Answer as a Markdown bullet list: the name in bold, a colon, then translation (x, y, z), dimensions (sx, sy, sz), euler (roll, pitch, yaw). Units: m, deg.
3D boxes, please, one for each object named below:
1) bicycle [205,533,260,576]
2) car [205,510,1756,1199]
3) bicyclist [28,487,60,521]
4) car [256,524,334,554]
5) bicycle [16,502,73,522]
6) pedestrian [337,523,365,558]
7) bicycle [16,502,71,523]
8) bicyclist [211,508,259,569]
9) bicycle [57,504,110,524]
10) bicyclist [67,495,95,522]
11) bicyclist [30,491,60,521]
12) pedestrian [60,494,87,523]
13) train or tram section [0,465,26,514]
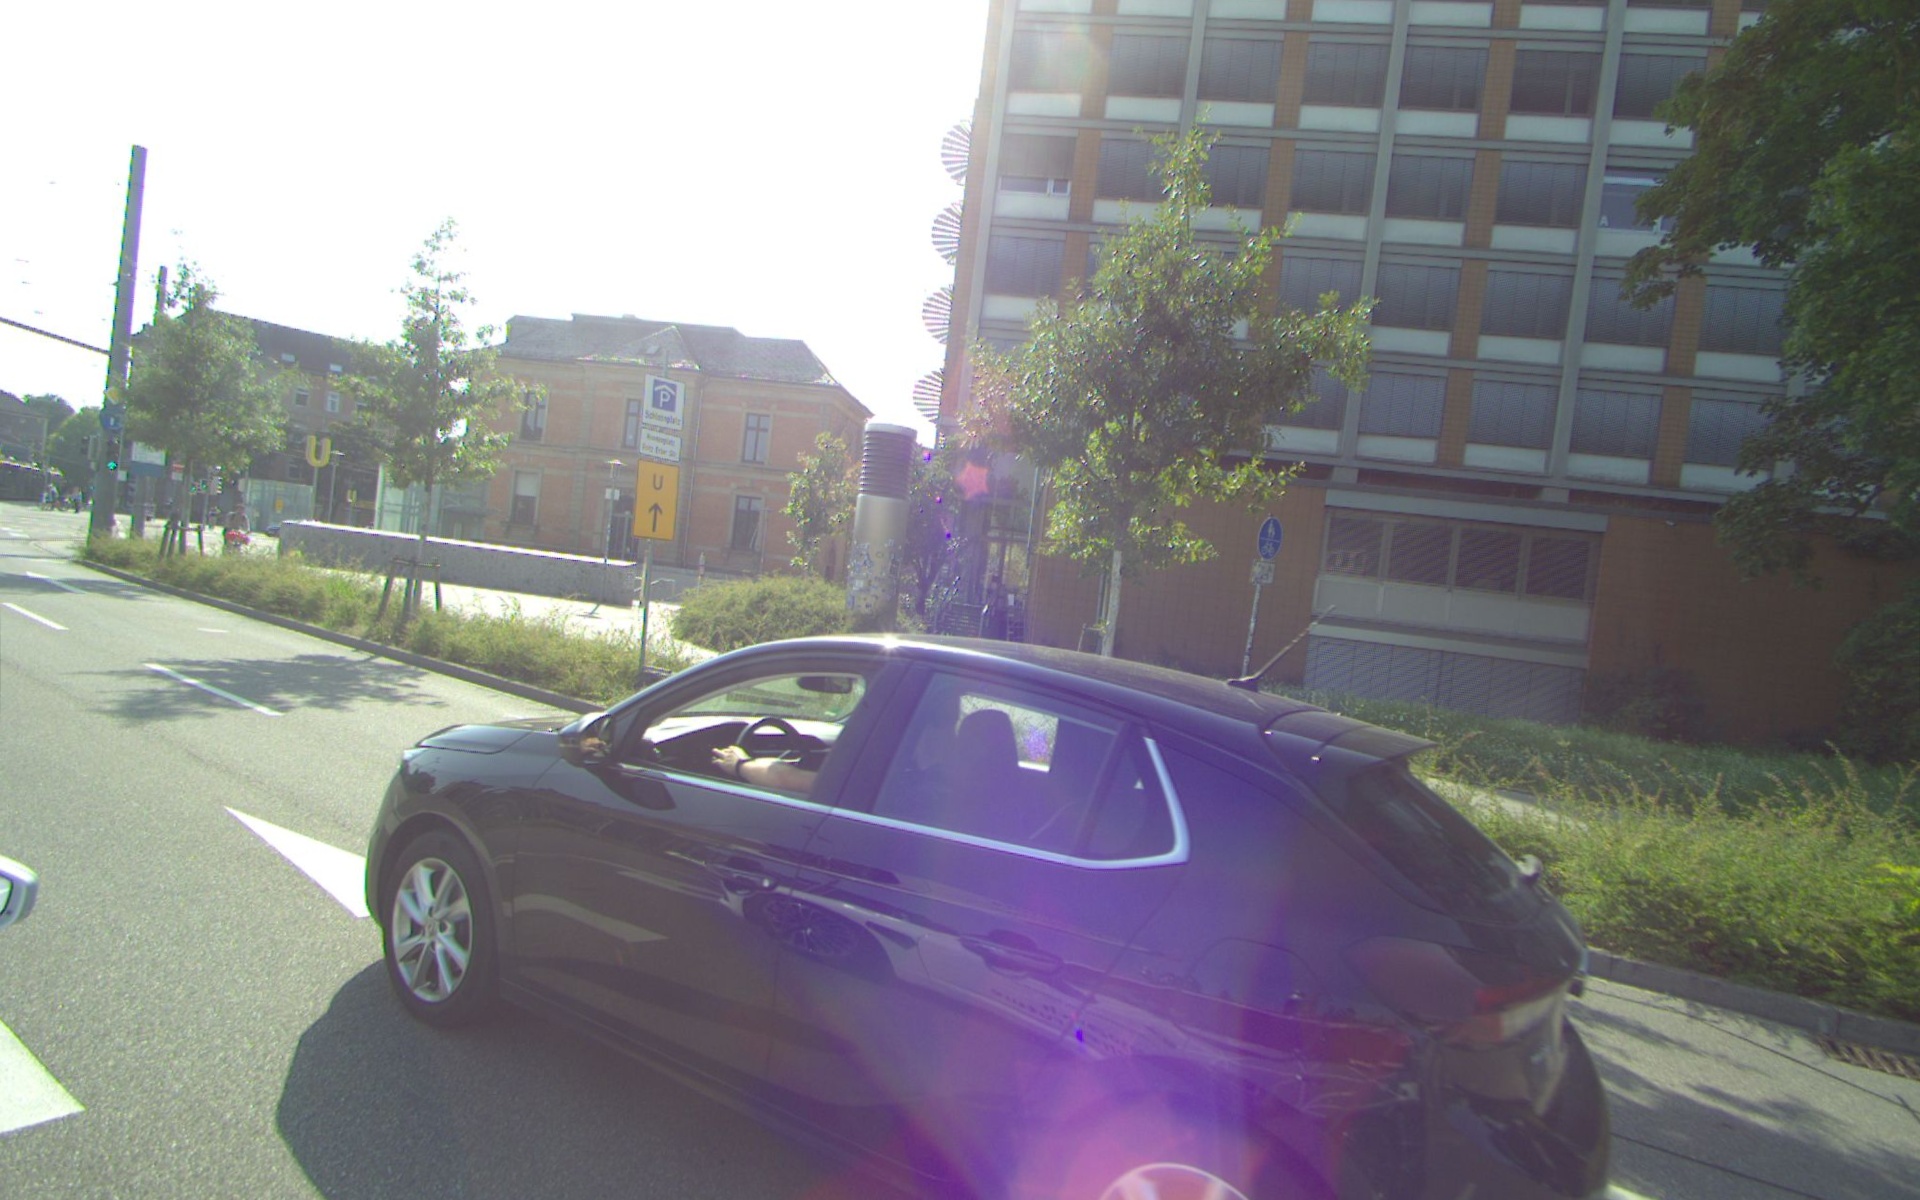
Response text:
- **bicycle**: translation (-19.662, -1.228, 27.186), dimensions (1.894, 0.972, 0.718), euler (7, 1, 40)
- **car**: translation (-0.358, 0.735, 3.299), dimensions (4.298, 1.509, 1.687), euler (7, -2, 30)
- **bicyclist**: translation (-60.033, -6.286, 65.950), dimensions (1.073, 2.049, 0.937), euler (7, 1, 1)
- **car**: translation (-46.427, -4.234, 70.356), dimensions (1.985, 1.414, 4.391), euler (7, -1, 10)
- **bicycle**: translation (-61.606, -5.912, 67.700), dimensions (1.072, 0.976, 2.628), euler (7, 0, 14)
- **pedestrian**: translation (-32.035, -3.116, 52.907), dimensions (0.908, 1.711, 0.835), euler (7, 0, -15)
- **bicycle**: translation (-60.092, -5.738, 66.005), dimensions (1.073, 0.976, 2.626), euler (7, 0, 1)
- **bicyclist**: translation (-19.554, -1.659, 27.126), dimensions (0.990, 1.532, 0.718), euler (7, 1, 40)
- **bicycle**: translation (-61.397, -6.018, 70.485), dimensions (1.072, 0.976, 2.628), euler (7, 0, 14)
- **bicyclist**: translation (-61.395, -6.394, 70.287), dimensions (1.072, 1.701, 0.937), euler (7, 1, 14)
- **bicyclist**: translation (-61.557, -6.336, 67.676), dimensions (1.072, 1.822, 0.937), euler (7, 1, 14)
- **pedestrian**: translation (-59.966, -6.170, 68.070), dimensions (0.844, 1.820, 0.927), euler (7, 1, -3)
- **train or tram section**: translation (-76.881, -8.874, 79.848), dimensions (2.640, 3.746, 10.481), euler (6, 1, -36)
